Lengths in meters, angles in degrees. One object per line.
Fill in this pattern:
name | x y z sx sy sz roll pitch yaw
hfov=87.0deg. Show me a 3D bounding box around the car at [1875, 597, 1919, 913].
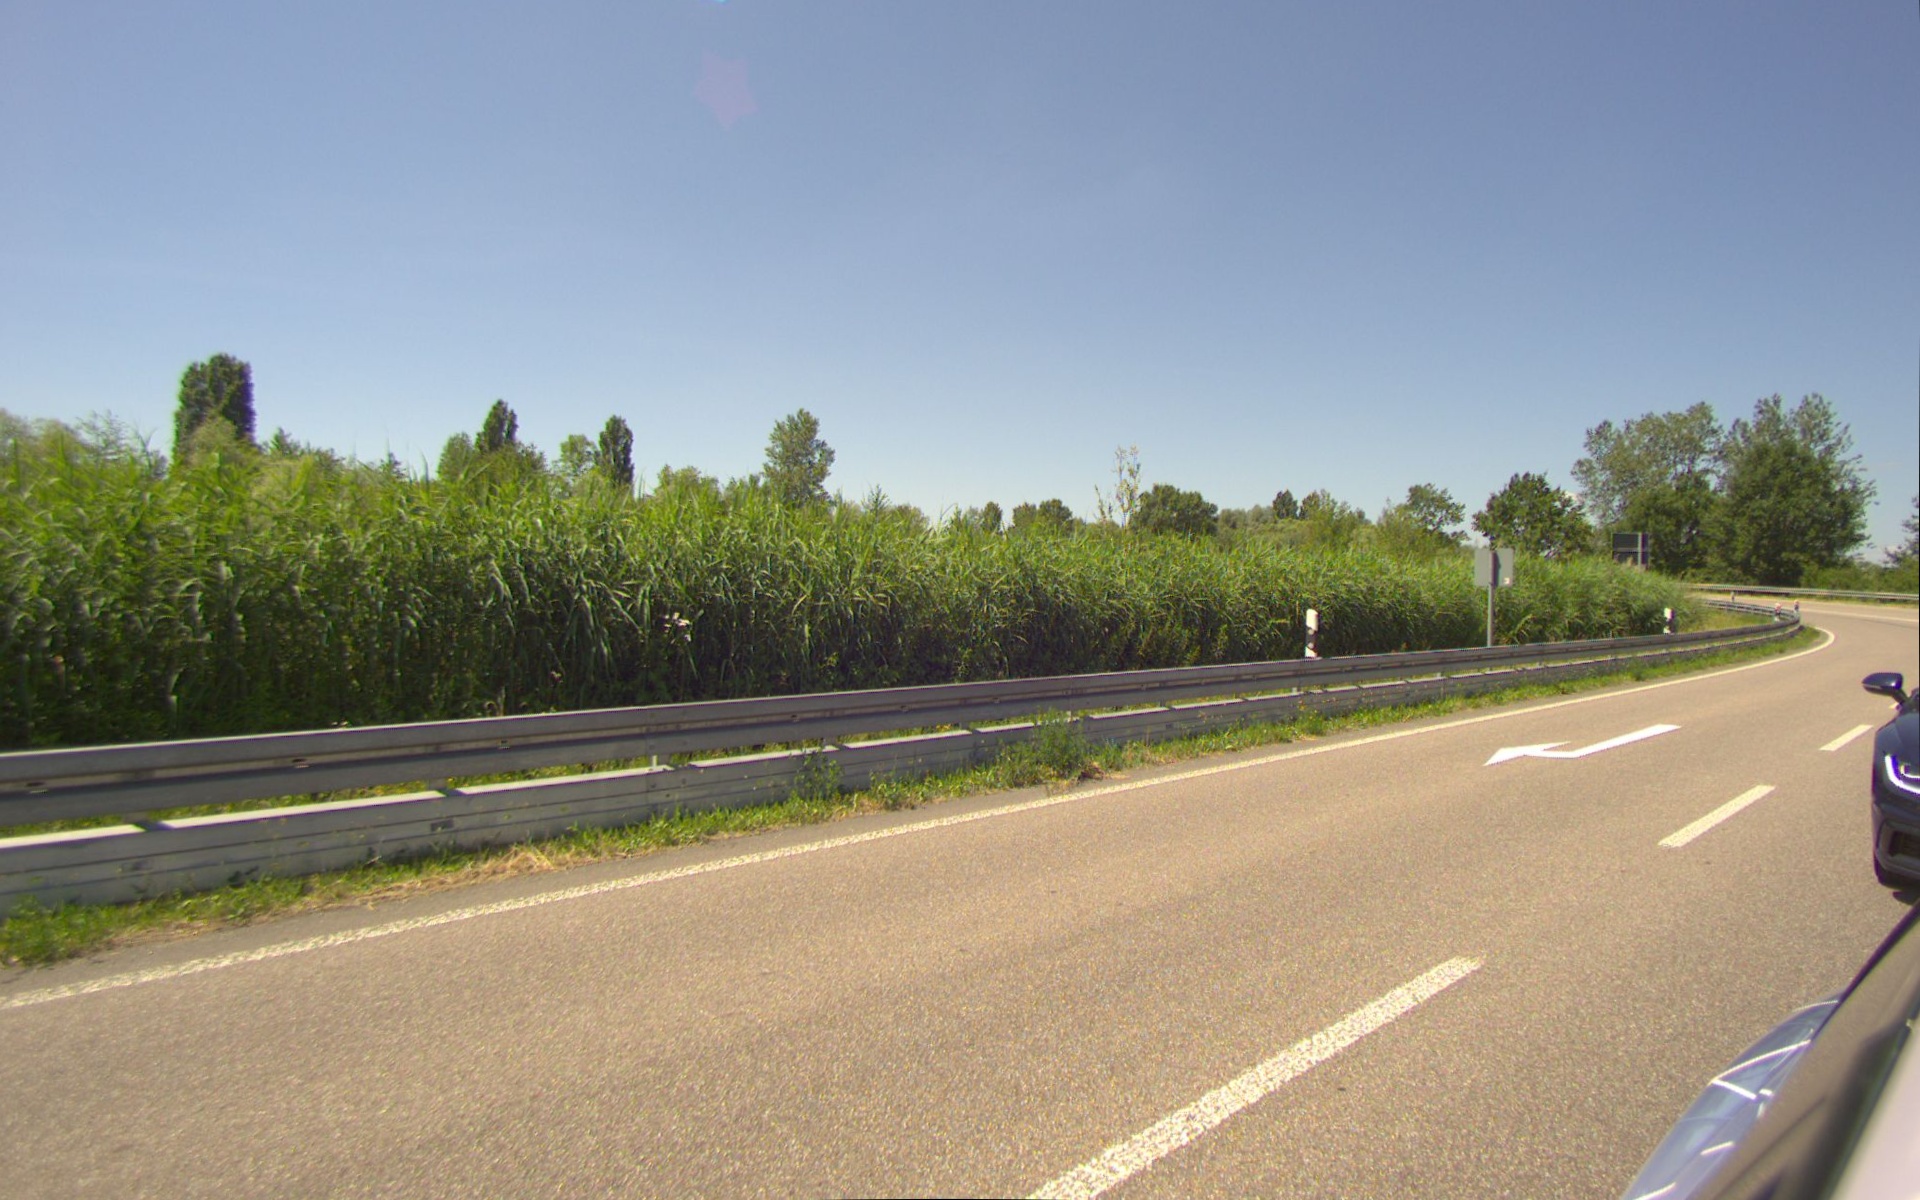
car | 6.319 0.698 5.361 3.931 1.427 1.759 -1 1 -41
